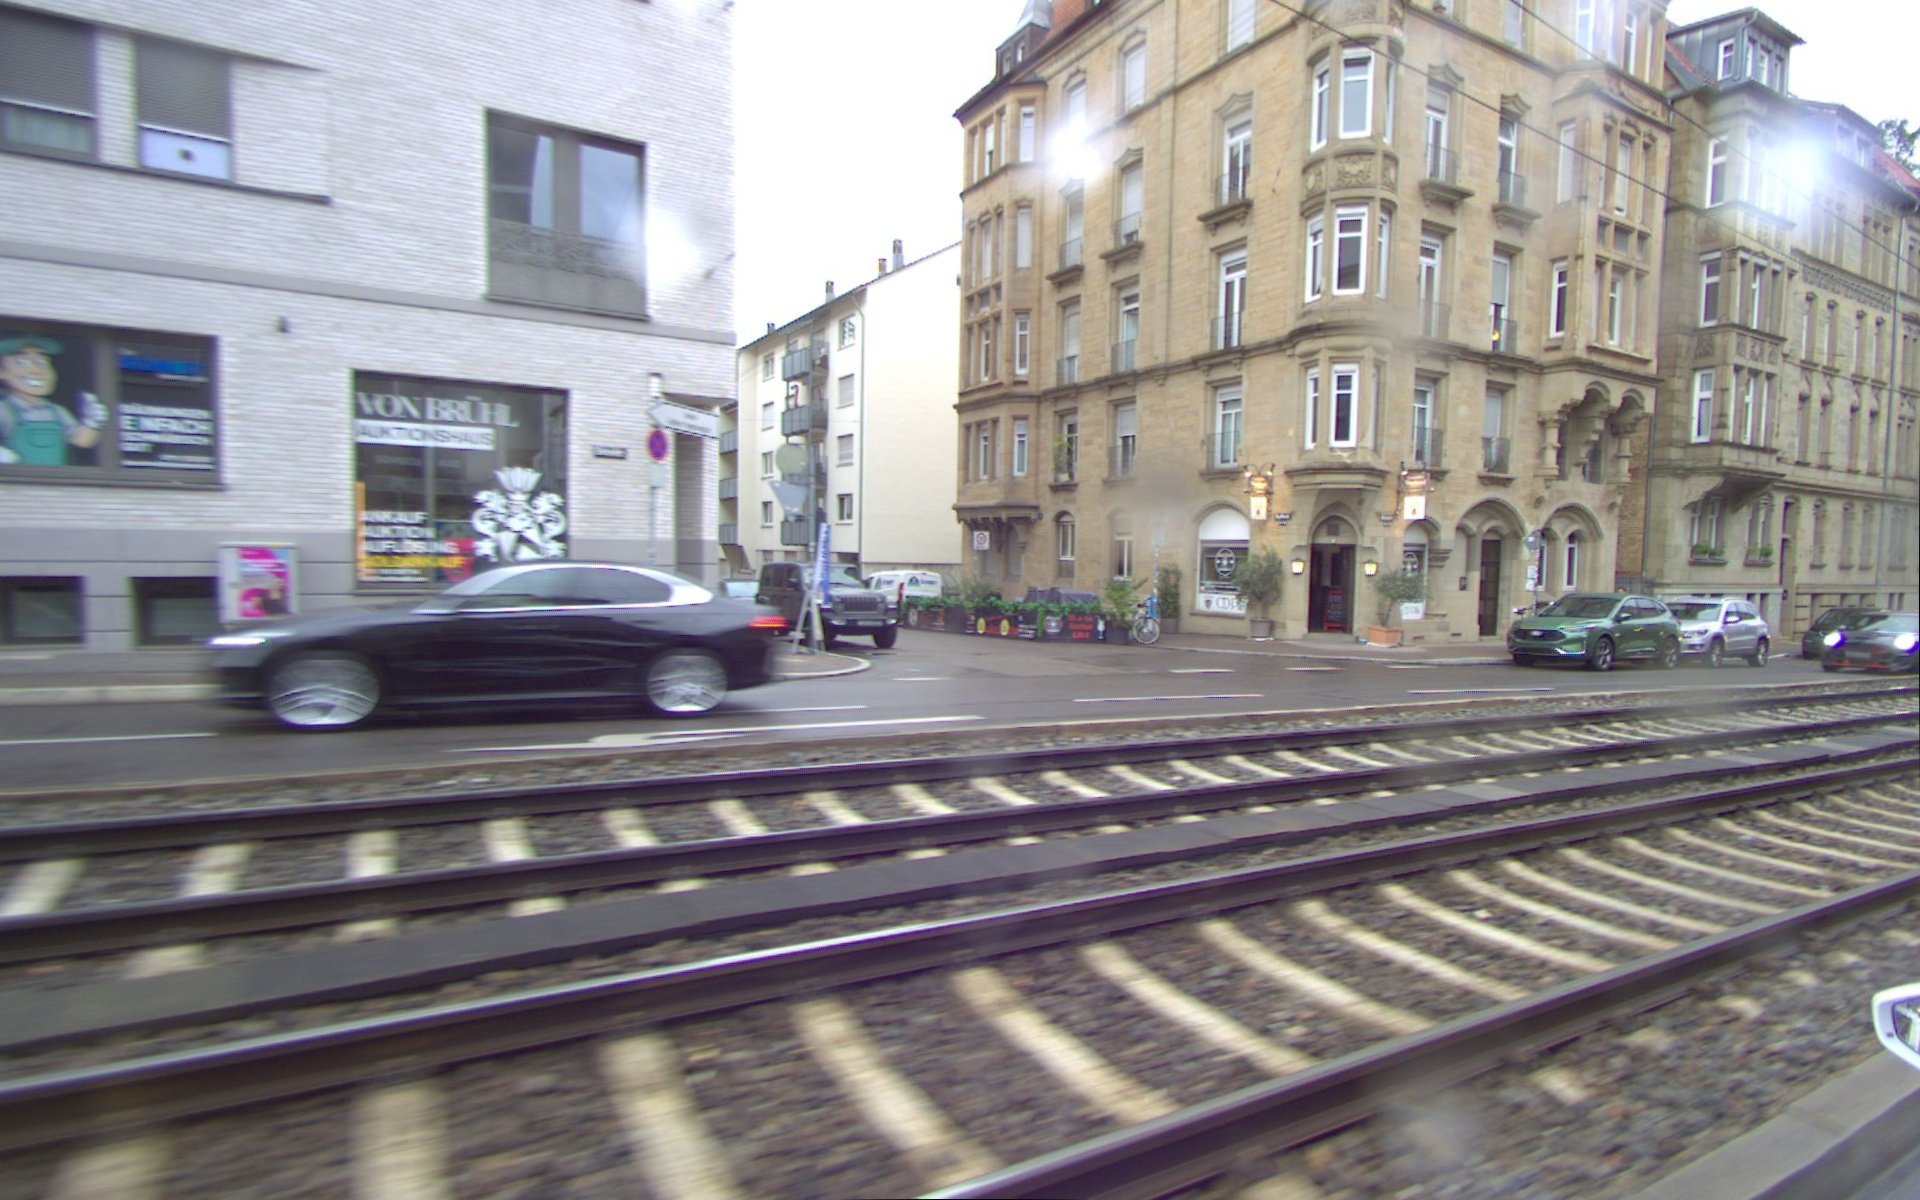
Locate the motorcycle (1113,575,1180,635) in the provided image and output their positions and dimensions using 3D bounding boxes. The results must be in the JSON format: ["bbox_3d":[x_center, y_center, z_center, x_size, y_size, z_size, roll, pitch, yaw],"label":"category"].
[{"bbox_3d":[5.264,0.143,28.521,0.616,1.641,2.063,1,0,-32],"label":"motorcycle"}]

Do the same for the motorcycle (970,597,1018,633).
[{"bbox_3d":[1.194,0.510,35.647,0.699,1.247,2.064,1,0,-31],"label":"motorcycle"}]

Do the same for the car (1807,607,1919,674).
[{"bbox_3d":[21.514,0.901,23.211,3.734,1.406,1.697,1,1,-28],"label":"car"}]

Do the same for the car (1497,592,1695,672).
[{"bbox_3d":[14.157,0.688,22.327,4.376,1.623,1.850,1,0,-29],"label":"car"}]

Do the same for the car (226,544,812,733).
[{"bbox_3d":[-4.096,0.332,9.905,4.800,1.477,2.079,1,0,-29],"label":"car"}]

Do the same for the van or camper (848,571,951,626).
[{"bbox_3d":[-2.160,-0.037,34.805,1.921,1.799,3.932,1,0,-32],"label":"van or camper"}]

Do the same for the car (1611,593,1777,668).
[{"bbox_3d":[18.094,0.726,24.727,4.267,1.674,1.848,1,1,-32],"label":"car"}]

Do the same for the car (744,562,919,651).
[{"bbox_3d":[-2.986,0.068,22.365,2.013,1.751,4.663,1,1,-33],"label":"car"}]

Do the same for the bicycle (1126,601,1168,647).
[{"bbox_3d":[4.771,0.596,25.770,0.608,1.134,2.136,1,0,-1],"label":"bicycle"}]

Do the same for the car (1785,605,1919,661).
[{"bbox_3d":[26.788,0.966,30.146,4.121,1.528,1.861,1,1,-31],"label":"car"}]

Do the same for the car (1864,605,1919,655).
[{"bbox_3d":[31.184,0.971,32.571,3.810,1.544,1.687,1,0,-30],"label":"car"}]
